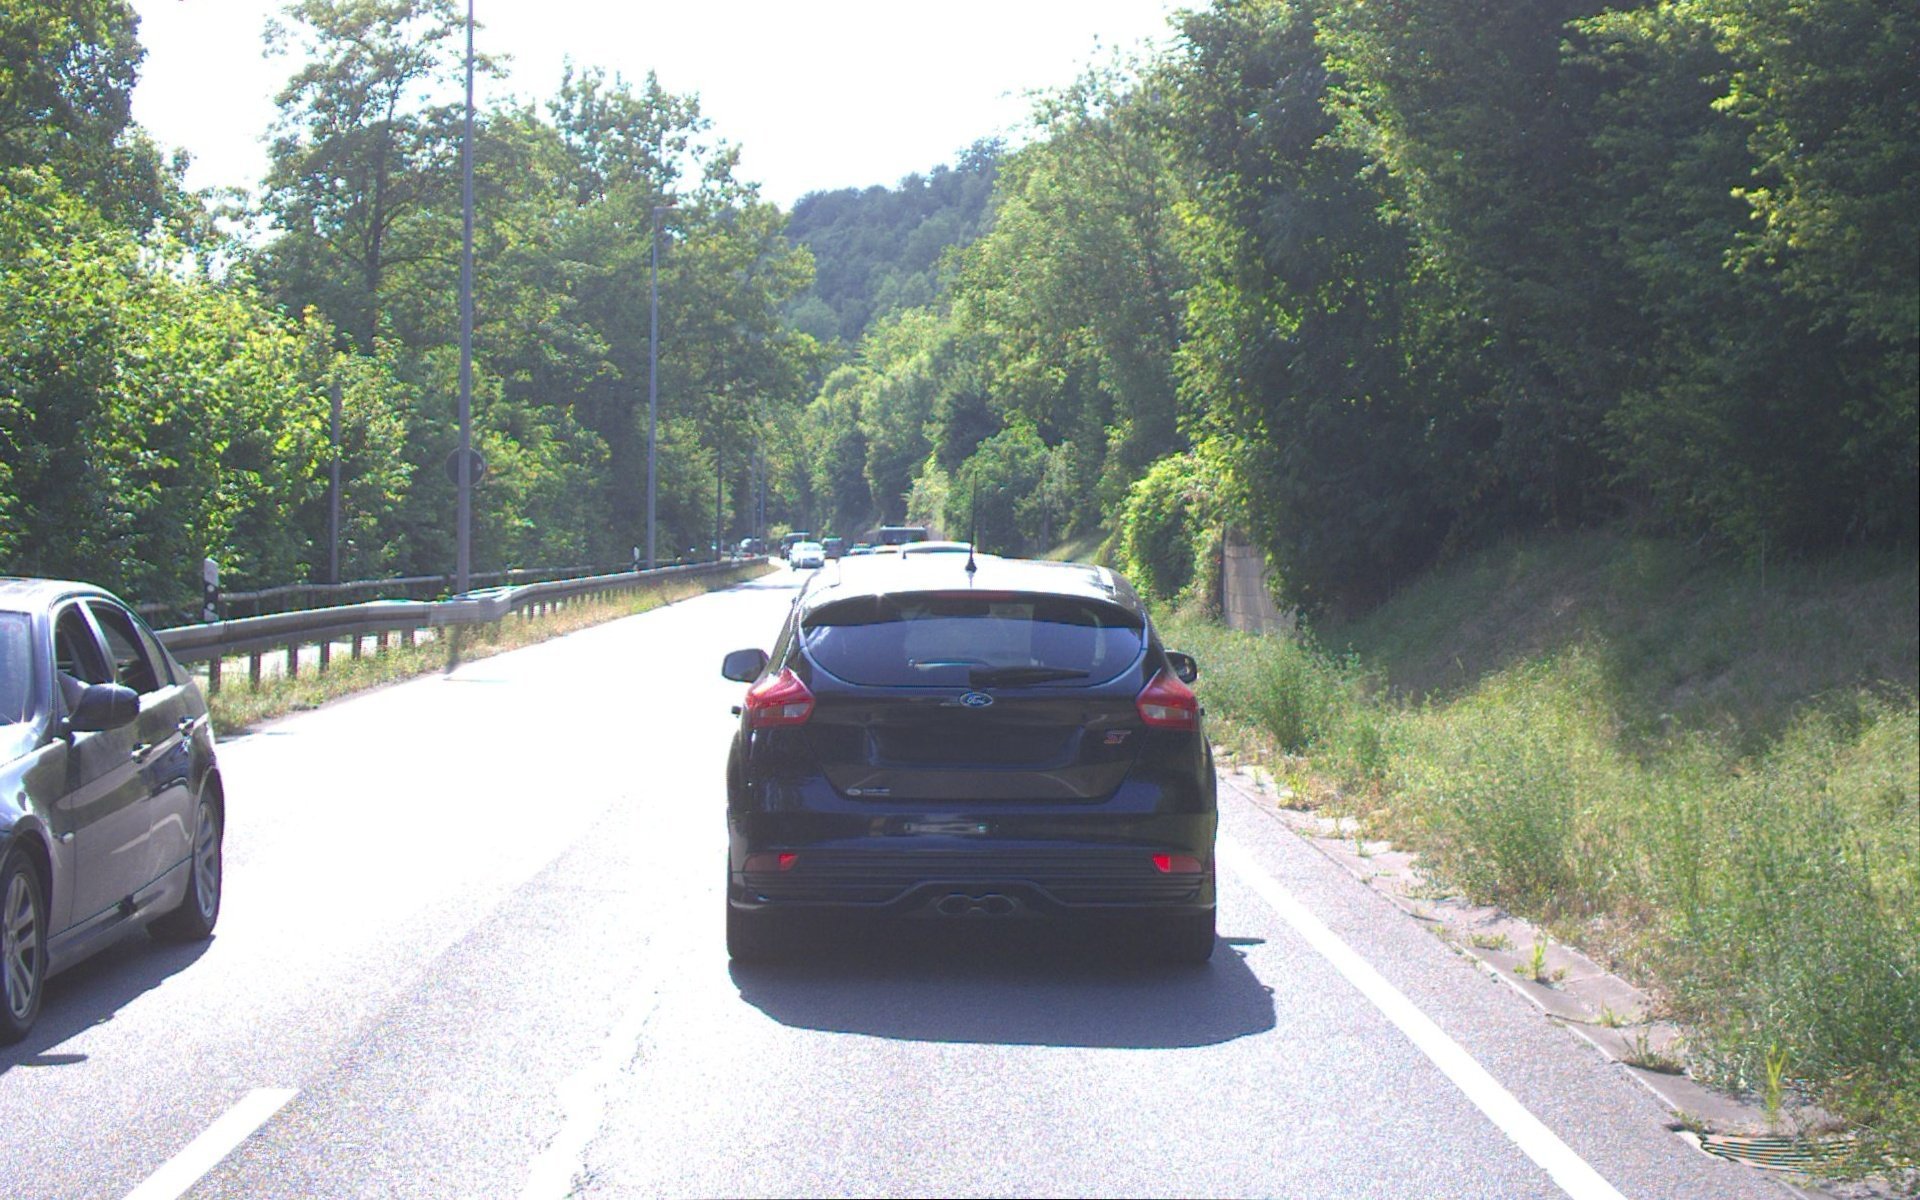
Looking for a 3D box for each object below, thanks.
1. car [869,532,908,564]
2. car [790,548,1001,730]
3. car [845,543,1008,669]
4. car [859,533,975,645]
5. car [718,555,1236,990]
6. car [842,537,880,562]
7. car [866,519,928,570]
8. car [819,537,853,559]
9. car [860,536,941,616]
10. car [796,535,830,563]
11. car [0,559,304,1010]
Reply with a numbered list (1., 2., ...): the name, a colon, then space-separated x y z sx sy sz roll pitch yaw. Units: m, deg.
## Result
1. car: -3.380 -2.484 163.939 1.819 1.514 4.000 0 1 -1
2. car: -0.485 0.277 29.075 1.661 1.413 4.000 0 1 1
3. car: -0.396 0.038 40.201 1.804 1.387 4.000 0 1 -1
4. car: -0.630 -0.193 50.581 1.631 1.590 4.000 0 1 -1
5. car: 0.035 0.557 13.602 1.739 1.451 4.000 0 1 -1
6. car: -6.288 -3.199 217.770 1.993 1.514 4.001 0 1 -8
7. car: -2.234 -1.958 120.957 1.862 1.774 4.001 0 1 -6
8. car: -8.592 -3.630 238.410 1.993 1.514 4.001 0 1 -8
9. car: -1.209 -0.511 70.808 1.631 1.590 4.000 0 1 -1
10. car: -7.575 -2.625 176.991 1.623 1.372 4.048 -2 1 -1
11. car: -3.714 0.567 13.071 1.691 1.415 4.142 0 1 -1
